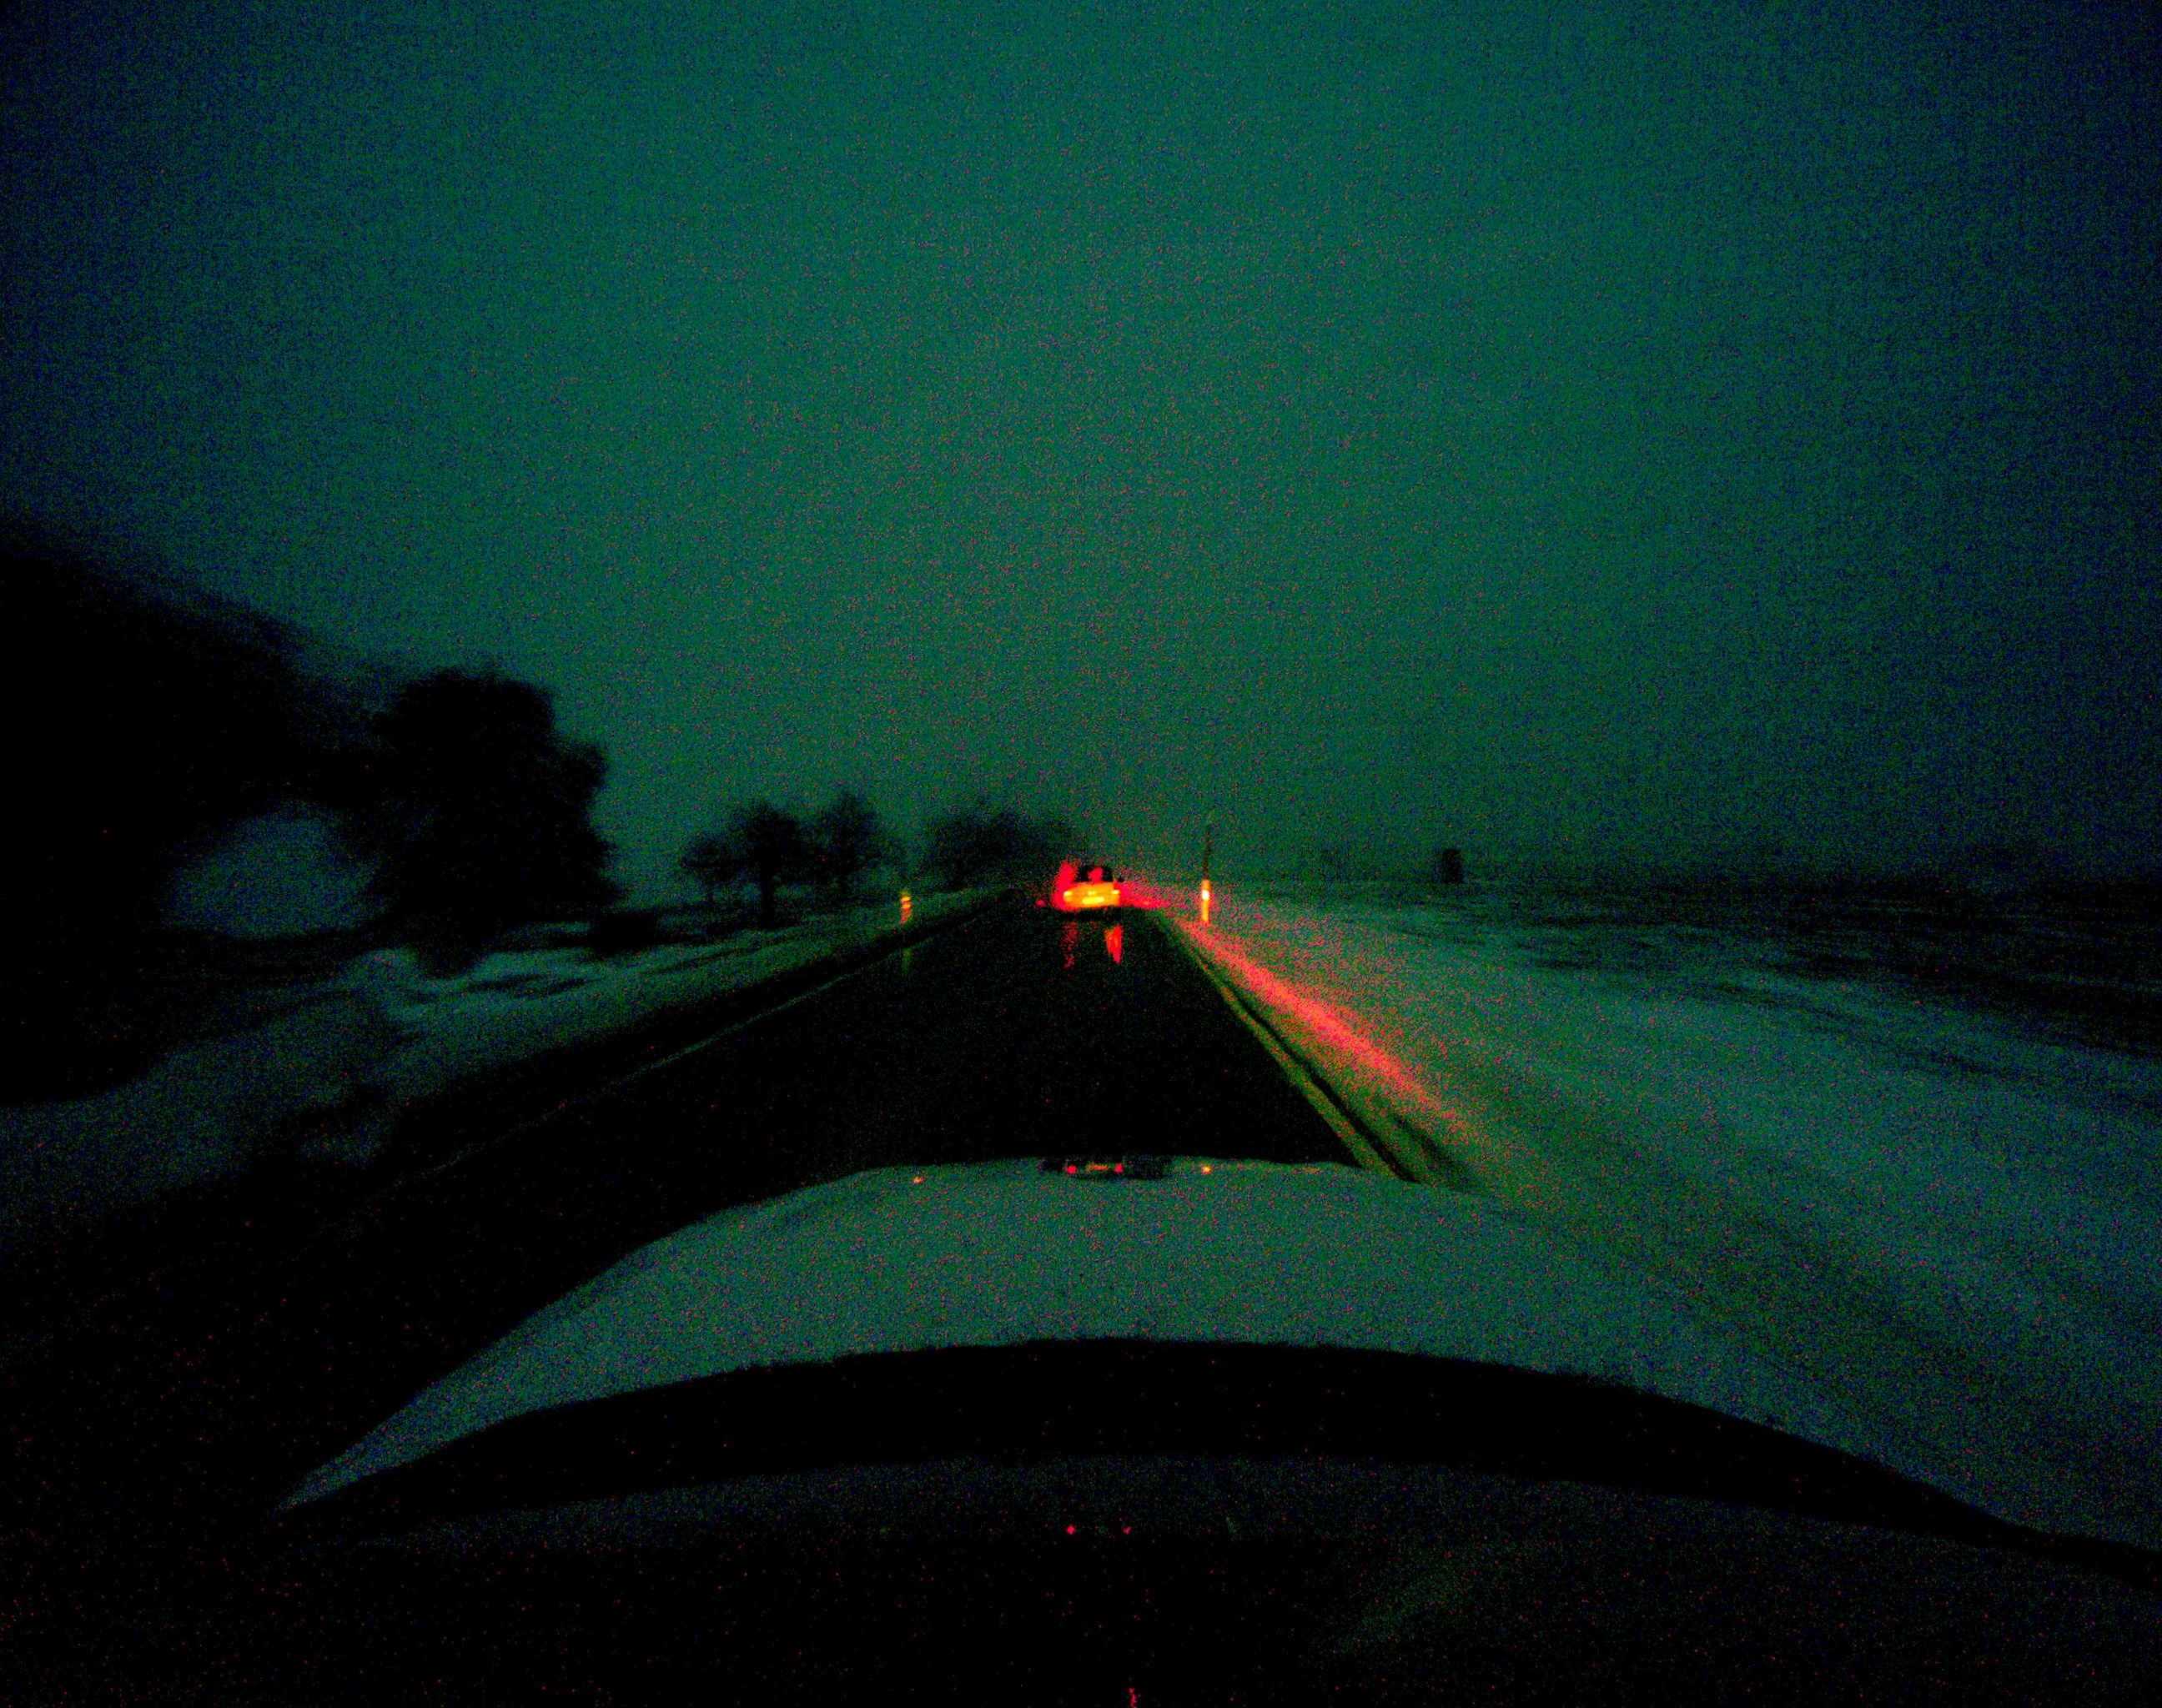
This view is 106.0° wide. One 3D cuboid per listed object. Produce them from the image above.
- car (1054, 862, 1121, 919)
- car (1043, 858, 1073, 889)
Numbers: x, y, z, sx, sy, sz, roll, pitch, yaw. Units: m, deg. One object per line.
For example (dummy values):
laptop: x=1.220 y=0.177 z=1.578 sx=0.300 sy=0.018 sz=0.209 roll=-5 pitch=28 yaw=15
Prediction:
car: x=0.101 y=0.974 z=23.093 sx=1.703 sy=1.463 sz=3.996 roll=0 pitch=-1 yaw=-3
car: x=-1.171 y=1.003 z=42.593 sx=1.474 sy=1.508 sz=3.052 roll=-2 pitch=-1 yaw=0
